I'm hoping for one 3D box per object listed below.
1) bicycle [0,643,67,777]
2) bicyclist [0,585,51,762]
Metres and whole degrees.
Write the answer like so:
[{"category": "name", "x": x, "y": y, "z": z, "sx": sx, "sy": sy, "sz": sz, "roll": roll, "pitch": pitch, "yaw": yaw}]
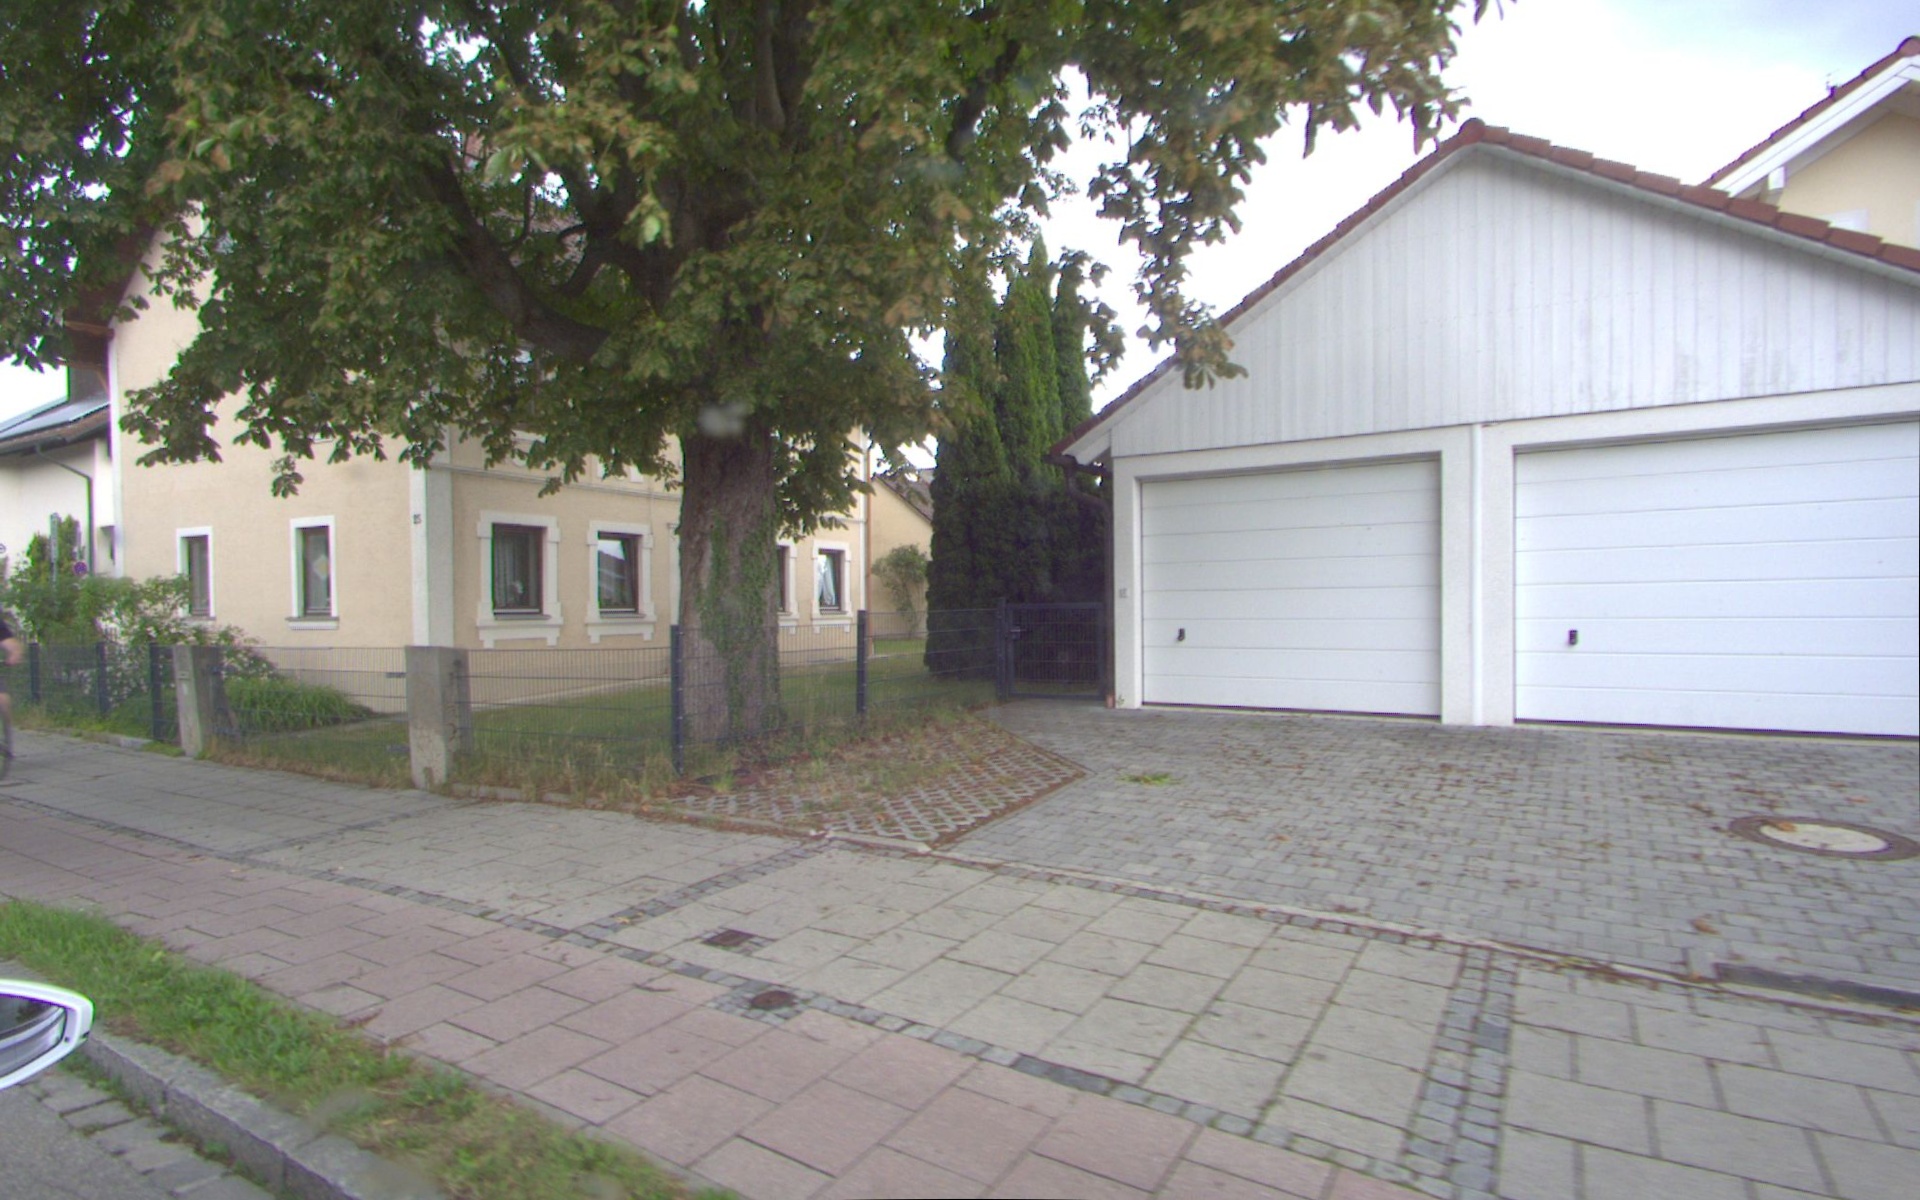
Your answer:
[{"category": "bicycle", "x": -9.396, "y": 1.028, "z": 9.626, "sx": 1.820, "sy": 1.158, "sz": 0.762, "roll": -1, "pitch": 1, "yaw": 34}, {"category": "bicyclist", "x": -9.350, "y": 0.692, "z": 9.599, "sx": 0.878, "sy": 1.654, "sz": 0.734, "roll": 0, "pitch": 1, "yaw": 34}]
